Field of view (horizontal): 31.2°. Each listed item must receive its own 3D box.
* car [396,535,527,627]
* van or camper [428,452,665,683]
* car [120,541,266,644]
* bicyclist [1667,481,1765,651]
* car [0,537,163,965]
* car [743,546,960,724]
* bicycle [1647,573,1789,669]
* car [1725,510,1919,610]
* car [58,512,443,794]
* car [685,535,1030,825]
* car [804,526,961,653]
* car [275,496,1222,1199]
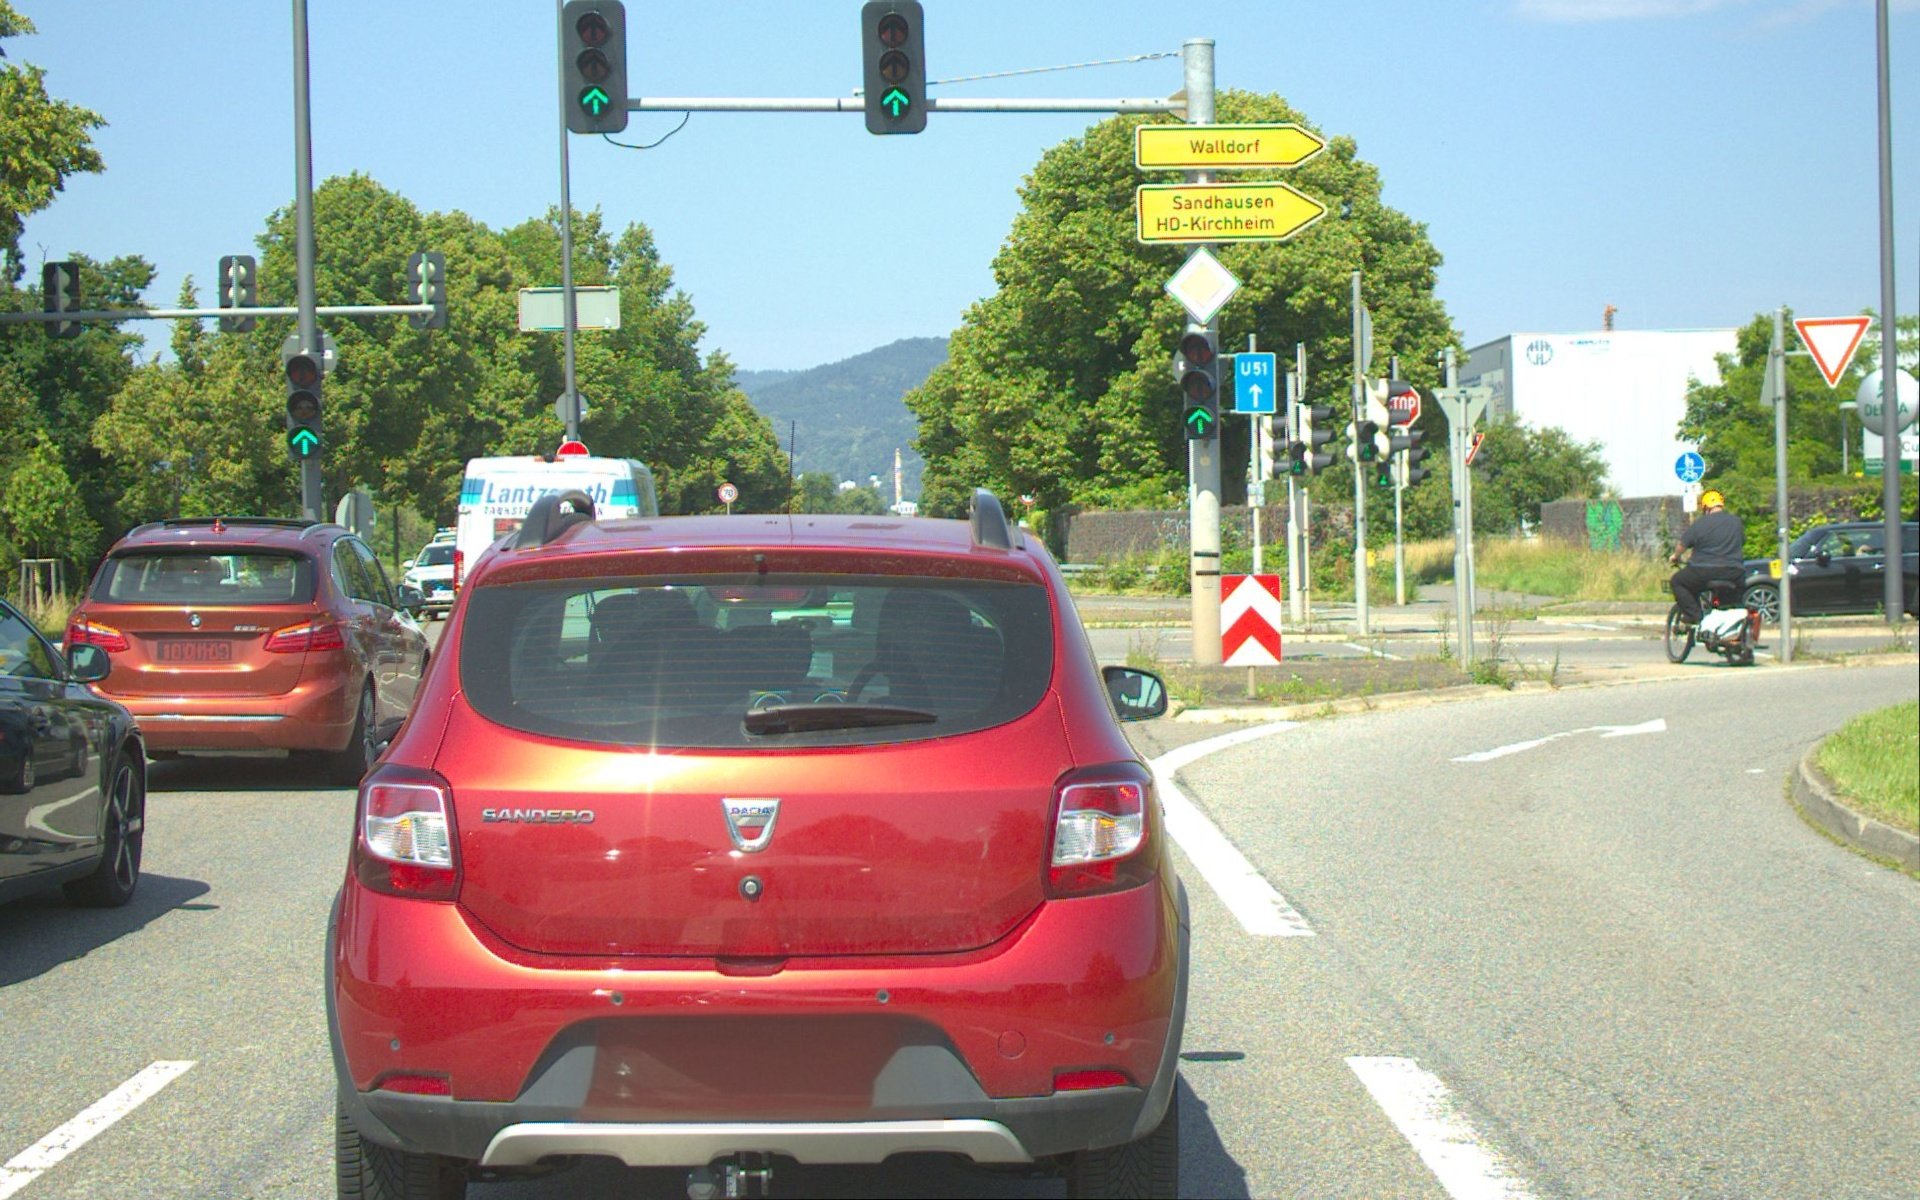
[{"bbox_3d":[-9.595,-0.401,66.403,1.993,1.664,4.000,-1,1,-1],"label":"car"},{"bbox_3d":[-4.339,-0.371,36.771,2.179,2.295,4.827,0,1,-3],"label":"van or camper"},{"bbox_3d":[-13.011,-0.157,58.532,1.745,1.612,4.137,-1,2,-3],"label":"car"},{"bbox_3d":[7.984,-0.363,36.327,0.802,1.765,0.809,-1,1,-2],"label":"bicyclist"},{"bbox_3d":[-4.139,0.513,12.200,1.702,1.437,3.956,1,2,0],"label":"car"},{"bbox_3d":[-0.901,0.263,30.457,1.749,1.453,3.676,0,1,1],"label":"car"},{"bbox_3d":[7.994,0.202,36.377,0.761,0.911,2.780,-1,1,-3],"label":"bicycle"},{"bbox_3d":[12.741,-0.579,47.790,3.988,1.322,1.806,-1,2,9],"label":"car"},{"bbox_3d":[-4.318,0.256,21.464,1.724,1.594,3.956,0,1,-2],"label":"car"},{"bbox_3d":[-0.490,0.373,19.290,1.749,1.453,3.676,0,1,1],"label":"car"},{"bbox_3d":[-0.891,-0.165,41.493,1.749,1.453,3.676,0,1,1],"label":"car"},{"bbox_3d":[-0.362,0.550,8.196,1.749,1.570,3.676,0,1,1],"label":"car"}]
